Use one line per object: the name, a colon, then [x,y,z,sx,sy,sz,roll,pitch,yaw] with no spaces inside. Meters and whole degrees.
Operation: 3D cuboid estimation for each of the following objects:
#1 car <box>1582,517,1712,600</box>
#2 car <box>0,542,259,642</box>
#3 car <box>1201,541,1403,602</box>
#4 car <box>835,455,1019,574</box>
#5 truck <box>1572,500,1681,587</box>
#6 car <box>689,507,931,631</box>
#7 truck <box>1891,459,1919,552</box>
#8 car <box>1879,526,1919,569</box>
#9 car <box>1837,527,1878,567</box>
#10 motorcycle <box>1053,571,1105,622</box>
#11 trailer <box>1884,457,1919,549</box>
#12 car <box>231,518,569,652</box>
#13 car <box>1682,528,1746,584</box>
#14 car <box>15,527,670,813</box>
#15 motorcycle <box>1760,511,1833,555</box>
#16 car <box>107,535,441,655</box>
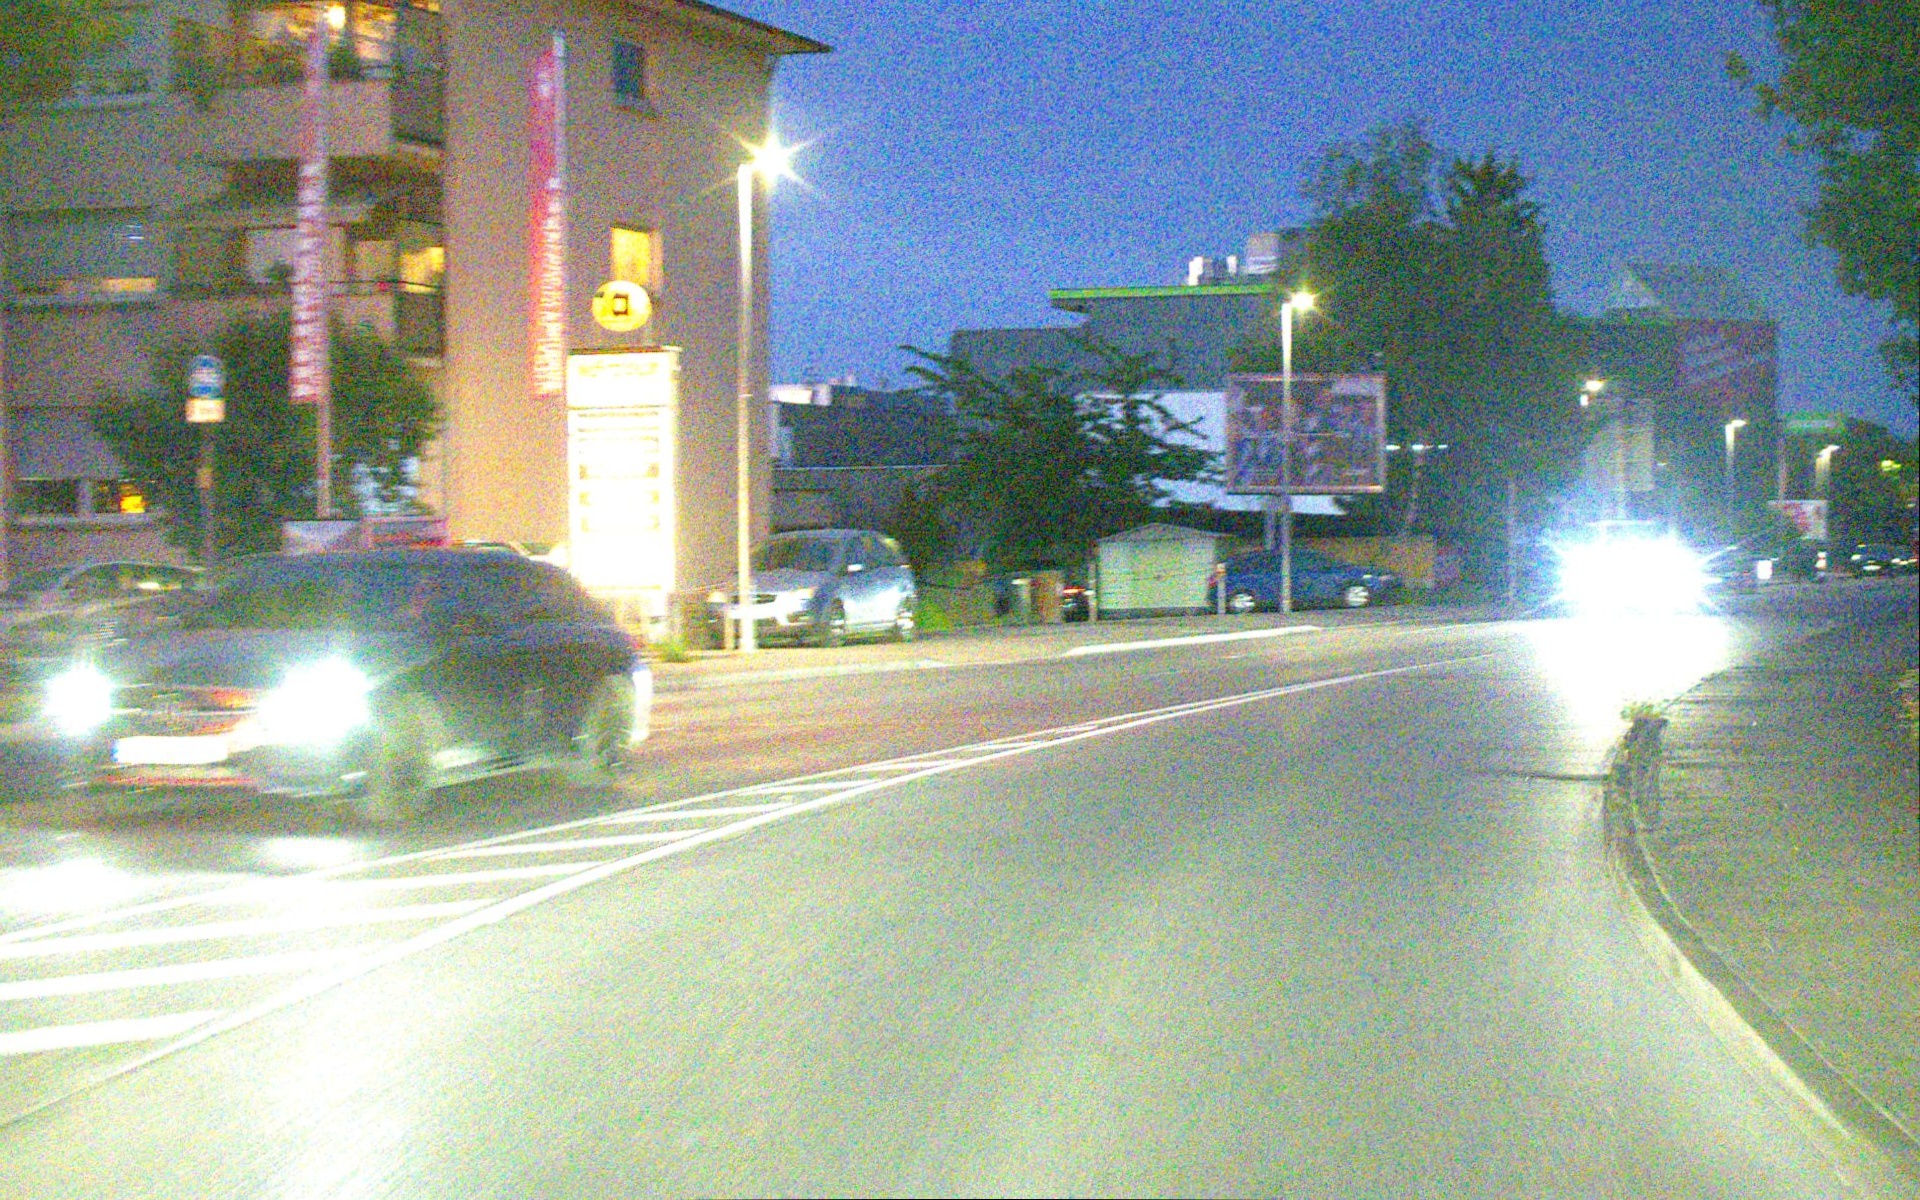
car: [14.055,-0.862,70.182,1.757,1.602,4.447,-1,1,22]
car: [-10.146,-0.120,41.217,1.548,1.127,3.207,1,2,36]
car: [7.847,-0.657,78.836,4.352,1.355,1.641,0,1,17]
car: [-0.552,-1.579,62.173,1.996,2.006,3.996,3,3,20]
truck: [17.233,-1.451,88.717,2.250,2.122,5.975,-1,1,16]
car: [-1.993,-0.446,47.066,1.757,1.602,4.448,1,1,19]
truck: [53.106,-5.157,187.730,3.843,4.873,6.351,2,3,12]
car: [44.768,-2.519,163.397,1.995,1.890,3.998,-1,2,13]
car: [39.670,-2.356,151.936,1.726,1.733,3.805,-1,1,15]
motorcycle: [2.799,-0.091,80.505,0.986,1.140,1.848,1,1,9]
trailer: [54.142,-5.475,192.625,3.843,4.873,10.804,2,3,12]
car: [-6.238,-0.199,38.593,1.548,1.415,3.691,1,2,37]
car: [22.373,-1.323,101.937,1.718,1.612,3.836,-1,1,15]
car: [-3.268,0.305,19.240,1.761,1.398,4.583,0,1,16]
motorcycle: [40.214,-3.240,165.217,3.989,2.006,1.322,-1,4,-43]
car: [-7.893,-0.093,39.805,1.548,1.307,3.691,1,2,37]
